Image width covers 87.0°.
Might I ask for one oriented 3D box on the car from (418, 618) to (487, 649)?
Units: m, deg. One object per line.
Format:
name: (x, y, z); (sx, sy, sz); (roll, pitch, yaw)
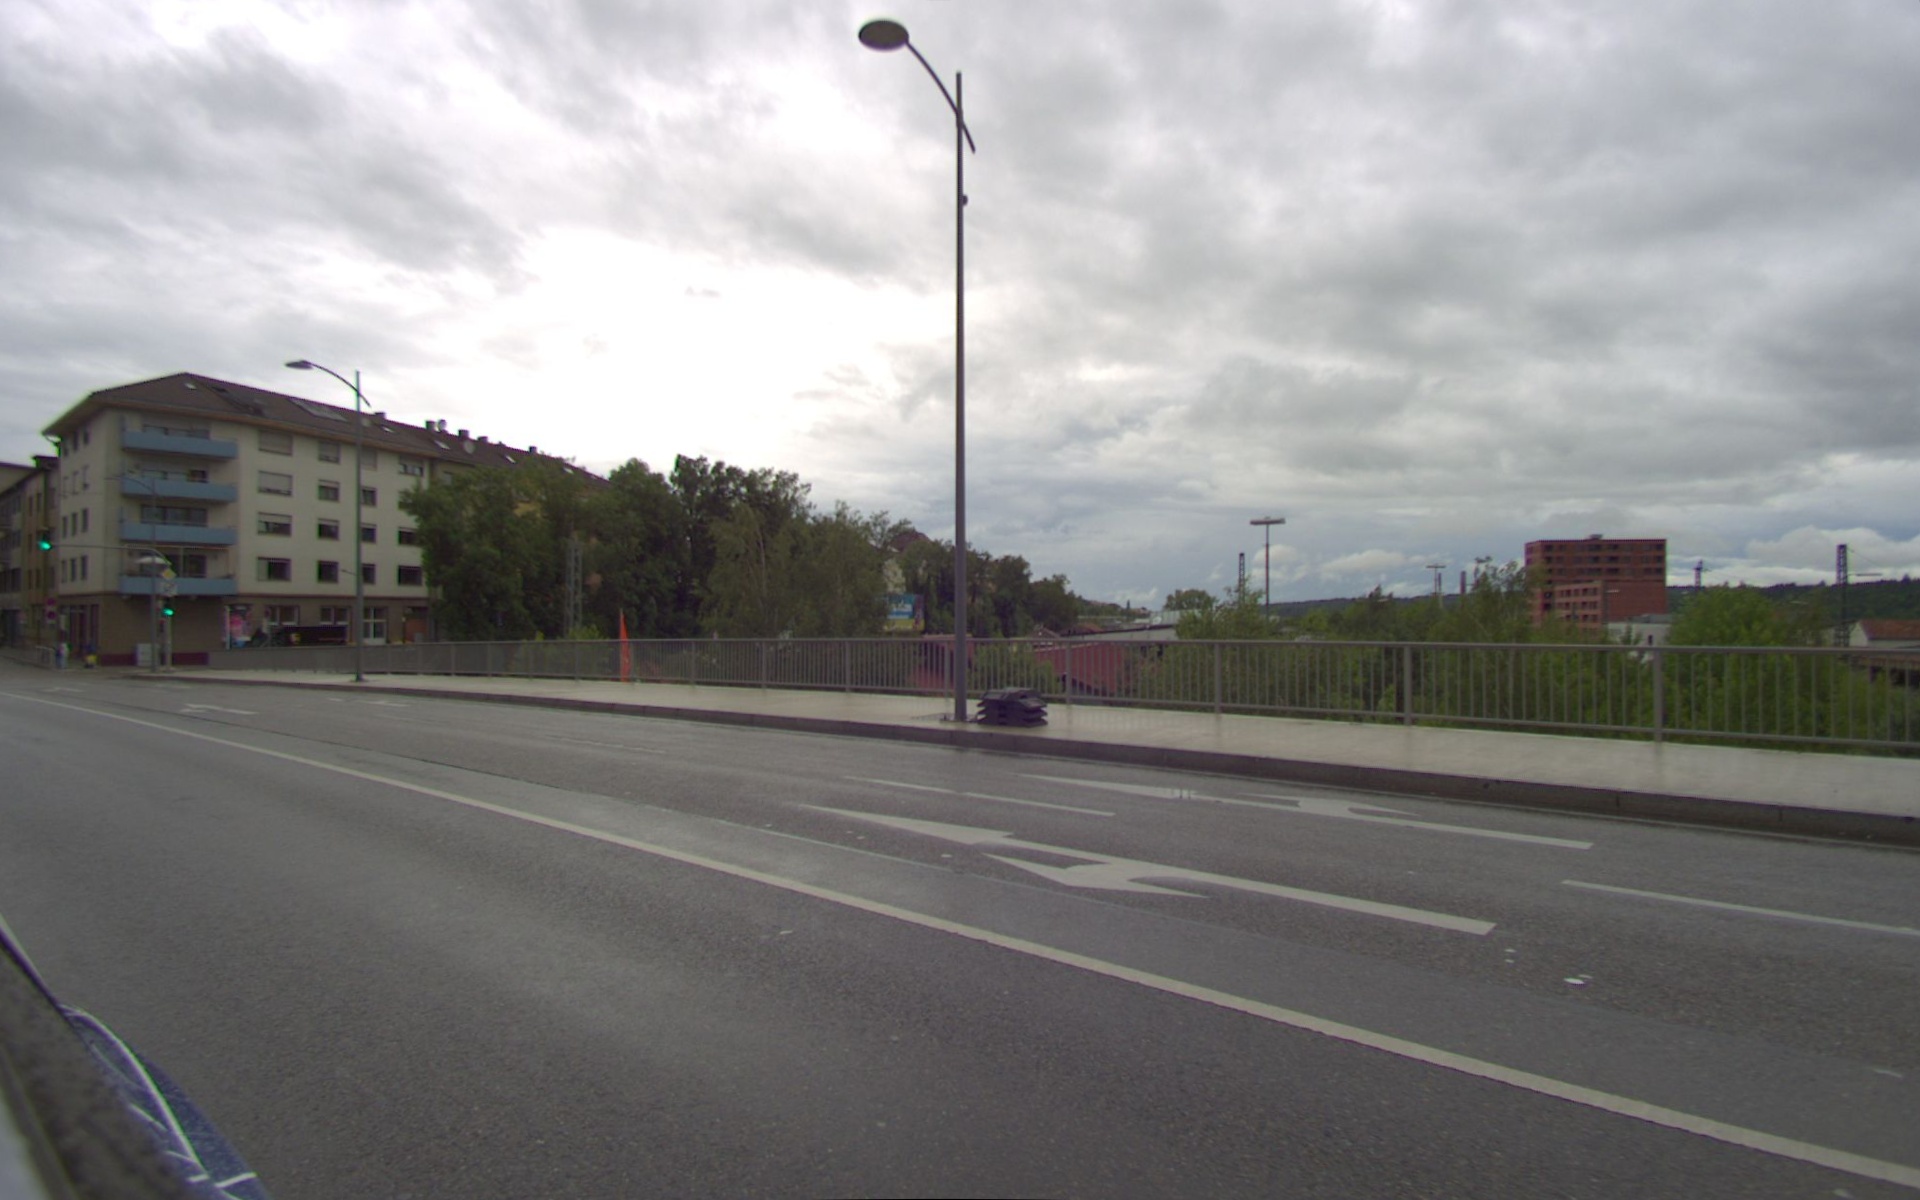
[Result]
car: (-35.399, 2.308, 70.715); (2.112, 2.029, 4.340); (-1, 0, 11)

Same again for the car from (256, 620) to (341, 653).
car: (-43.972, 2.425, 67.367); (2.119, 2.029, 4.326); (-1, 0, 20)

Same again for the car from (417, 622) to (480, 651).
car: (-38.762, 2.770, 76.788); (2.112, 2.029, 4.340); (-1, 0, 11)
